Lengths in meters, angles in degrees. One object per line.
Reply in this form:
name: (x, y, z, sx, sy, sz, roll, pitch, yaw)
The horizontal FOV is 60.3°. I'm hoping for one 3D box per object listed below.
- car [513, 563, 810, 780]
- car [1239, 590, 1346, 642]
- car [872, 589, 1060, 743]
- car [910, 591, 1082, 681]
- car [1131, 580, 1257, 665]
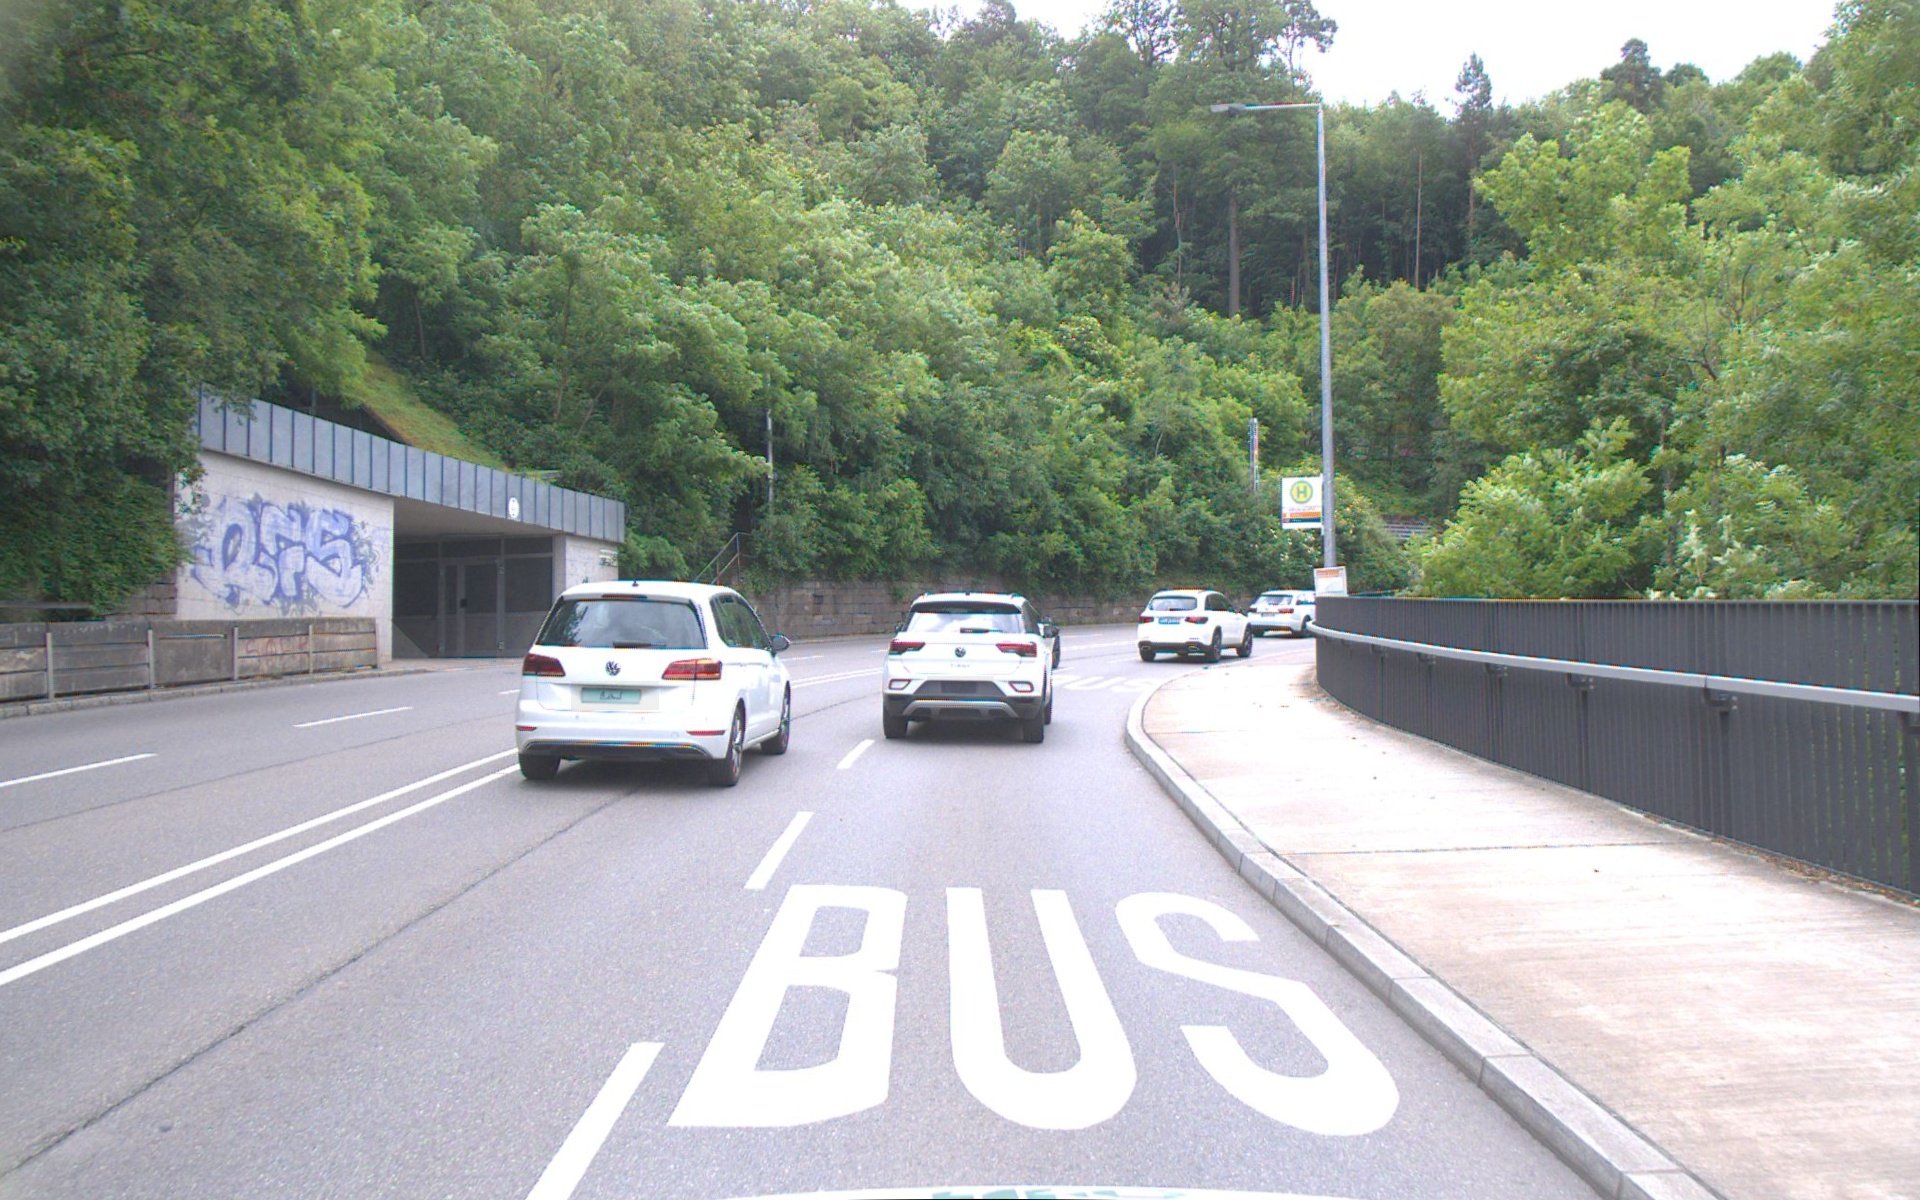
car: (-2.409, 0.529, 14.425, 1.684, 1.581, 4.276, 1, 0, 2)
car: (10.831, 0.522, 53.640, 1.713, 1.545, 4.291, 2, -1, 37)
car: (0.177, 0.686, 18.979, 1.775, 1.566, 4.011, -1, 0, 5)
car: (0.826, 0.662, 33.608, 1.953, 1.584, 4.681, 2, 2, 21)
car: (5.686, 0.548, 39.771, 1.953, 1.875, 4.148, 2, 0, 23)
